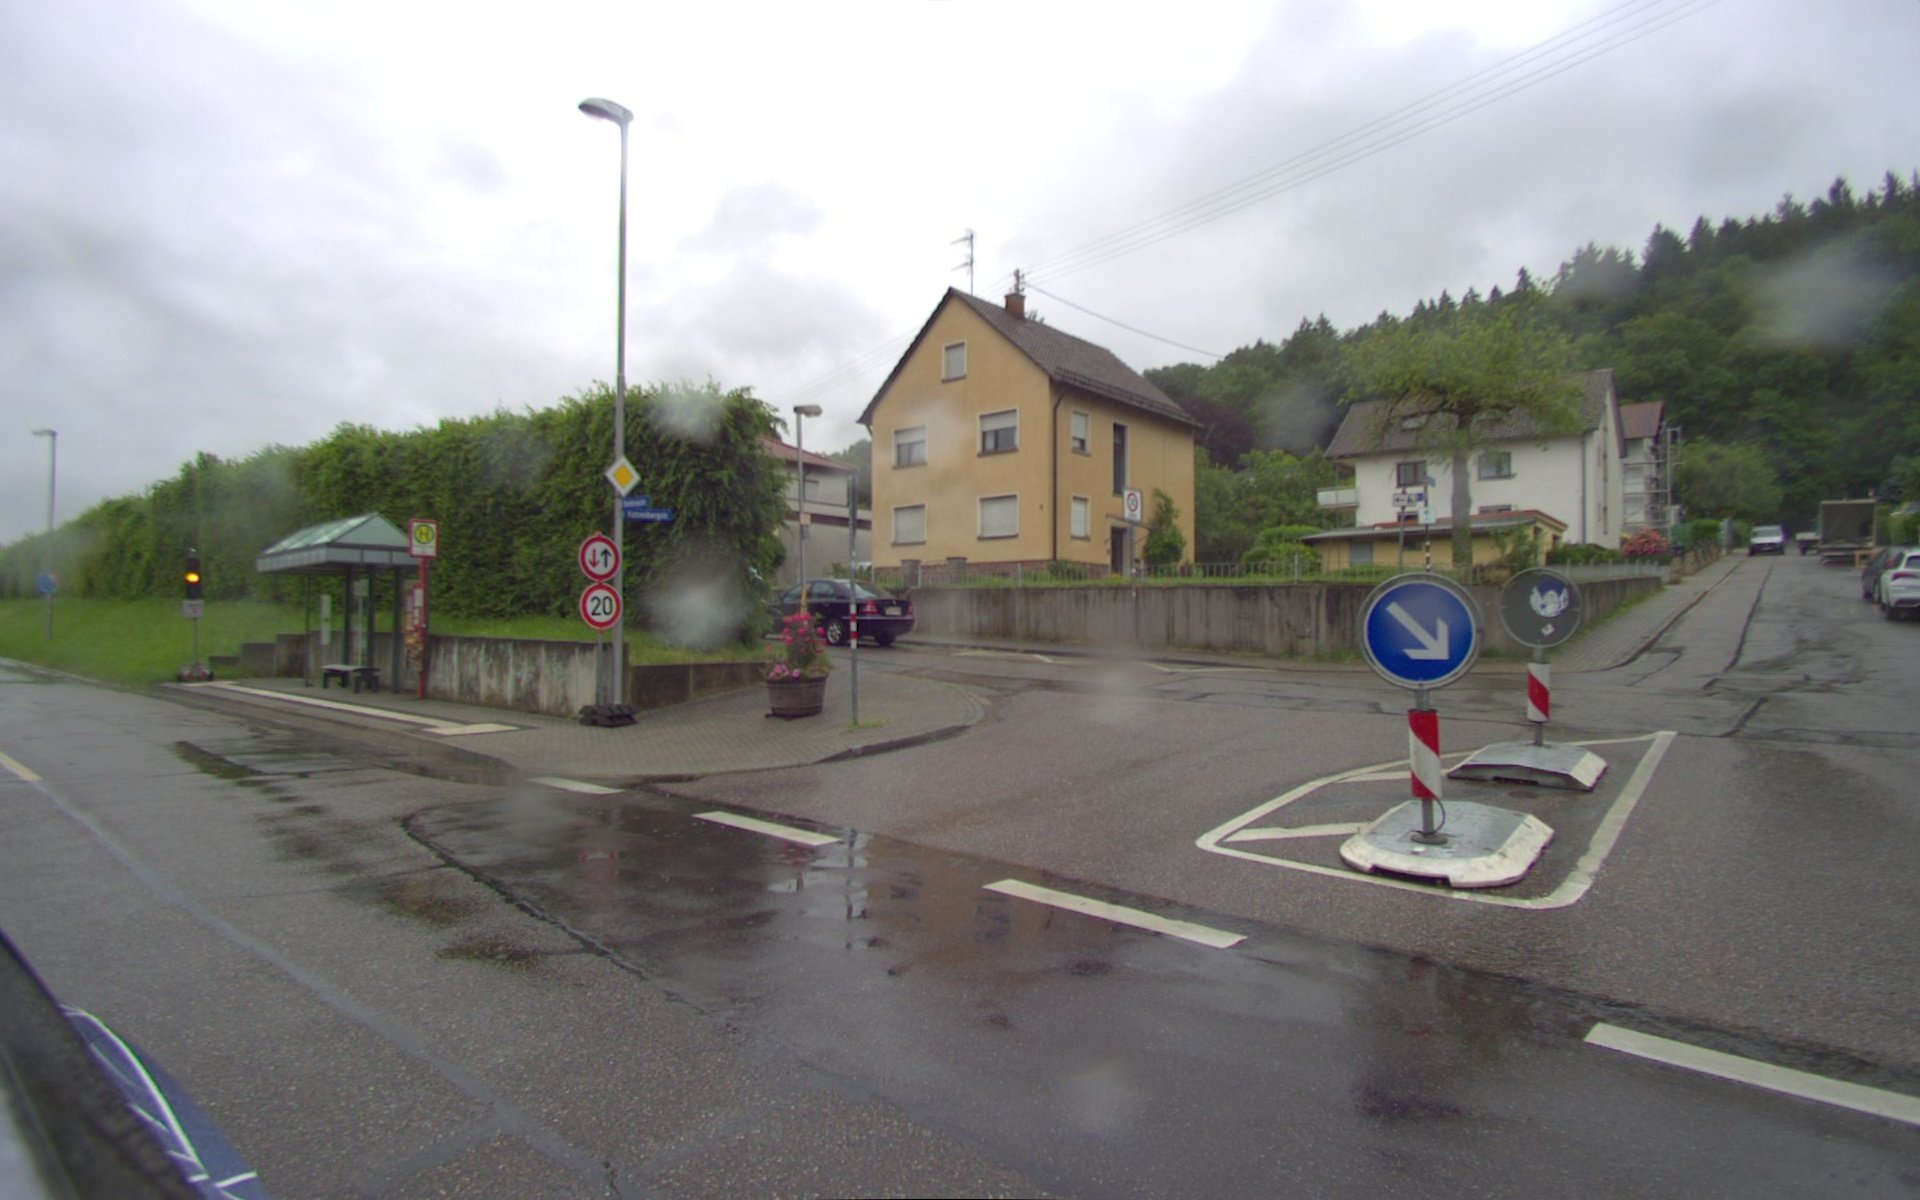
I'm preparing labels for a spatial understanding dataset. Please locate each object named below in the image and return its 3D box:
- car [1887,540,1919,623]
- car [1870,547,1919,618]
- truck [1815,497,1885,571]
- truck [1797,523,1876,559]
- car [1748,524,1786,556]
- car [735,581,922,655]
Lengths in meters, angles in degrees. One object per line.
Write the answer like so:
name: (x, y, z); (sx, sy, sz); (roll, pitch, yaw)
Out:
car: (21.795, -0.469, 22.316); (1.900, 1.525, 3.840); (0, 5, 41)
car: (24.999, -0.498, 26.342); (1.900, 1.525, 3.840); (0, 5, 41)
truck: (43.961, -3.156, 50.034); (2.452, 3.377, 6.567); (-1, 1, 41)
truck: (55.647, -3.705, 64.231); (5.979, 2.142, 2.306); (-2, 1, -34)
car: (54.360, -3.989, 68.238); (1.913, 2.028, 3.950); (0, 2, 37)
car: (-2.979, 0.337, 22.445); (4.221, 1.399, 1.726); (3, 1, 41)
